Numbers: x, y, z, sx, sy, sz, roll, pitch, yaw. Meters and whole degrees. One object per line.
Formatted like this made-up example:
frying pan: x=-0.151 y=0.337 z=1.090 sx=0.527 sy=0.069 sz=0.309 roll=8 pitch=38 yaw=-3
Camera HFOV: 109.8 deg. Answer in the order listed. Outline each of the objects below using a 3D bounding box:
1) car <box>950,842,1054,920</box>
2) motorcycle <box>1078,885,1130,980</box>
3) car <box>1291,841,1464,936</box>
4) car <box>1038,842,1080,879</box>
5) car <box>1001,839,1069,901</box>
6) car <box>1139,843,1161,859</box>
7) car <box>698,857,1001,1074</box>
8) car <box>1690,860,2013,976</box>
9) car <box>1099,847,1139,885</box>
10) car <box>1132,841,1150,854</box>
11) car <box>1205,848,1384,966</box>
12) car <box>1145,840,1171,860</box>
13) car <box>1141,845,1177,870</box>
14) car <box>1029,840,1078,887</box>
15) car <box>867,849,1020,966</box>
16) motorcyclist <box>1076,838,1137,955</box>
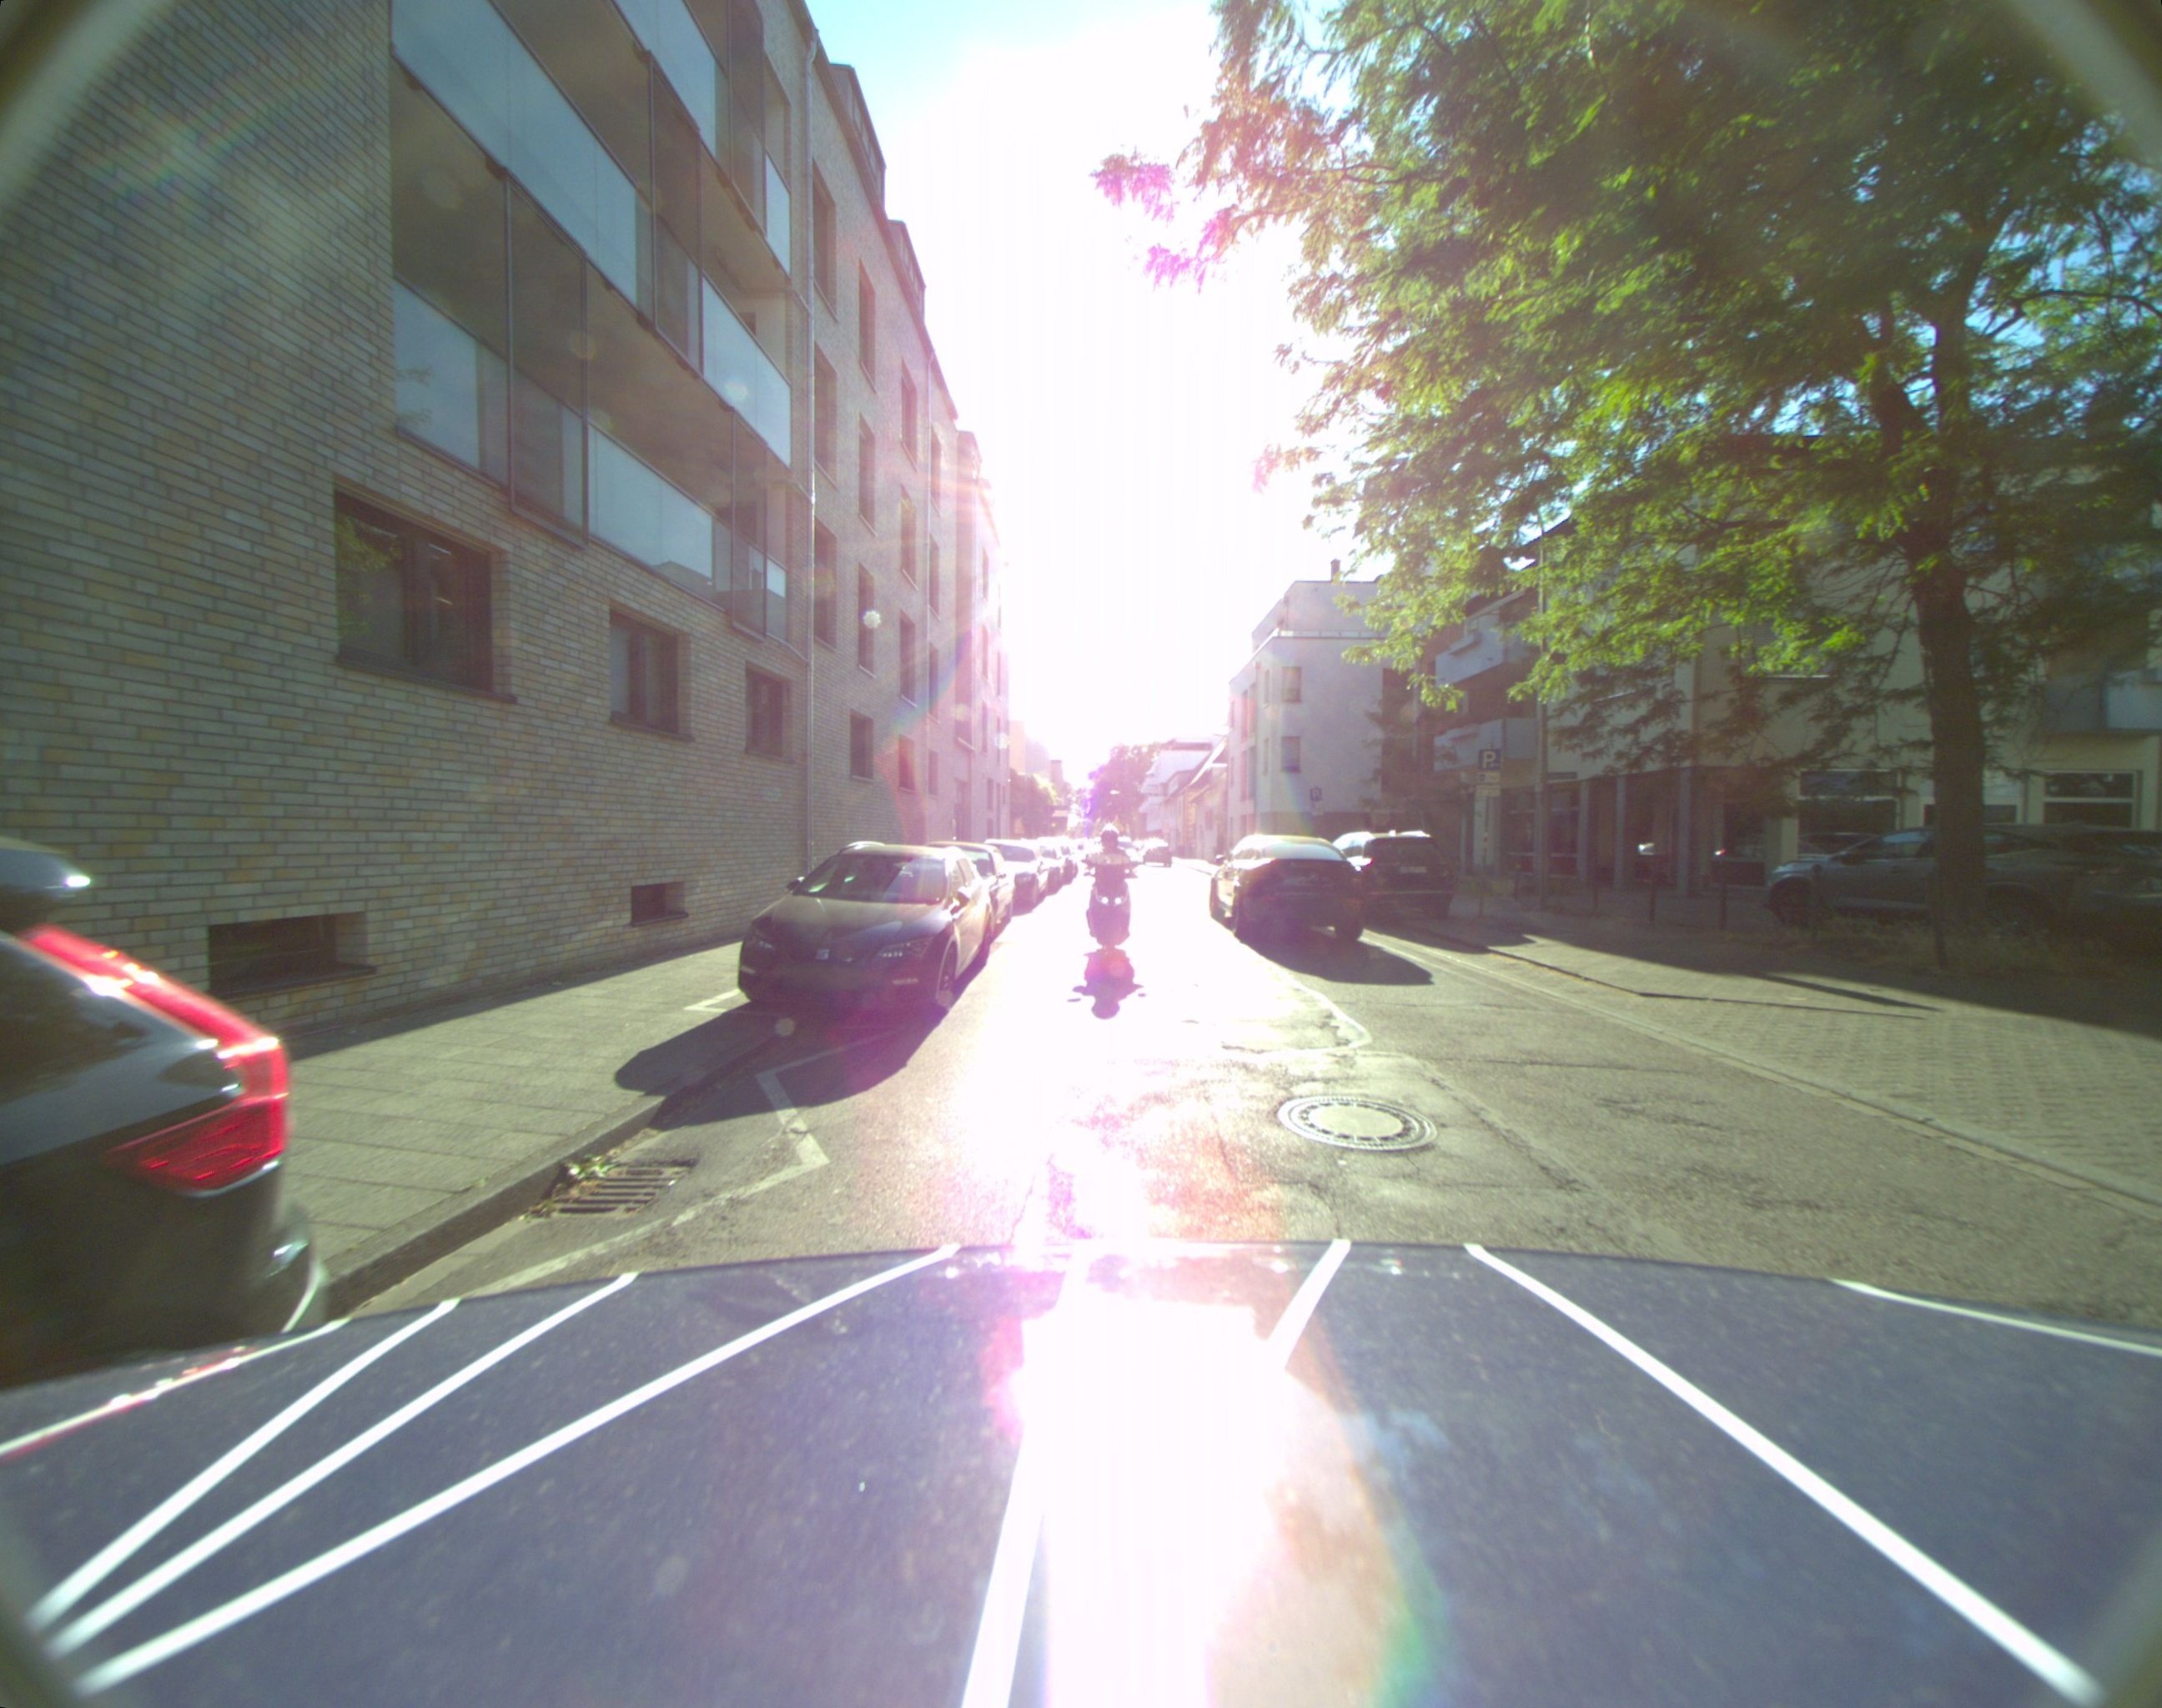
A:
car: x=-1.771 y=0.551 z=18.565 sx=1.729 sy=1.521 sz=4.626 roll=4 pitch=1 yaw=3
motorcycle: x=0.314 y=0.962 z=9.907 sx=0.598 sy=1.004 sz=1.821 roll=1 pitch=1 yaw=3
car: x=6.143 y=0.593 z=16.473 sx=1.936 sy=1.695 sz=5.100 roll=-2 pitch=1 yaw=3
car: x=-0.964 y=0.248 z=33.568 sx=1.731 sy=1.515 sz=3.653 roll=1 pitch=1 yaw=-1
car: x=-1.343 y=0.413 z=23.861 sx=1.671 sy=1.724 sz=4.838 roll=1 pitch=1 yaw=2
car: x=7.191 y=-0.368 z=79.824 sx=1.998 sy=1.614 sz=3.999 roll=1 pitch=1 yaw=2
car: x=-1.992 y=0.848 z=8.069 sx=1.700 sy=1.459 sz=4.719 roll=2 pitch=1 yaw=0
car: x=11.715 y=0.865 z=11.953 sx=1.524 sy=1.400 sz=3.640 roll=1 pitch=1 yaw=5
car: x=1.686 y=0.491 z=34.613 sx=1.708 sy=1.570 sz=3.915 roll=-1 pitch=1 yaw=2
car: x=7.078 y=-0.845 z=89.993 sx=1.998 sy=1.458 sz=3.999 roll=1 pitch=1 yaw=2
car: x=3.363 y=0.736 z=12.915 sx=1.943 sy=1.567 sz=4.319 roll=1 pitch=1 yaw=2
car: x=7.191 y=-0.358 z=71.149 sx=1.998 sy=1.619 sz=3.999 roll=-6 pitch=1 yaw=2
car: x=4.744 y=0.185 z=46.939 sx=1.811 sy=1.458 sz=3.999 roll=1 pitch=1 yaw=0
car: x=-0.997 y=0.308 z=29.099 sx=1.654 sy=1.583 sz=4.341 roll=3 pitch=1 yaw=0
car: x=-2.086 y=0.736 z=12.717 sx=1.668 sy=1.507 sz=4.218 roll=3 pitch=1 yaw=1
motorcyclist: x=0.333 y=0.519 z=9.762 sx=0.717 sy=1.425 sz=0.746 roll=1 pitch=2 yaw=3
